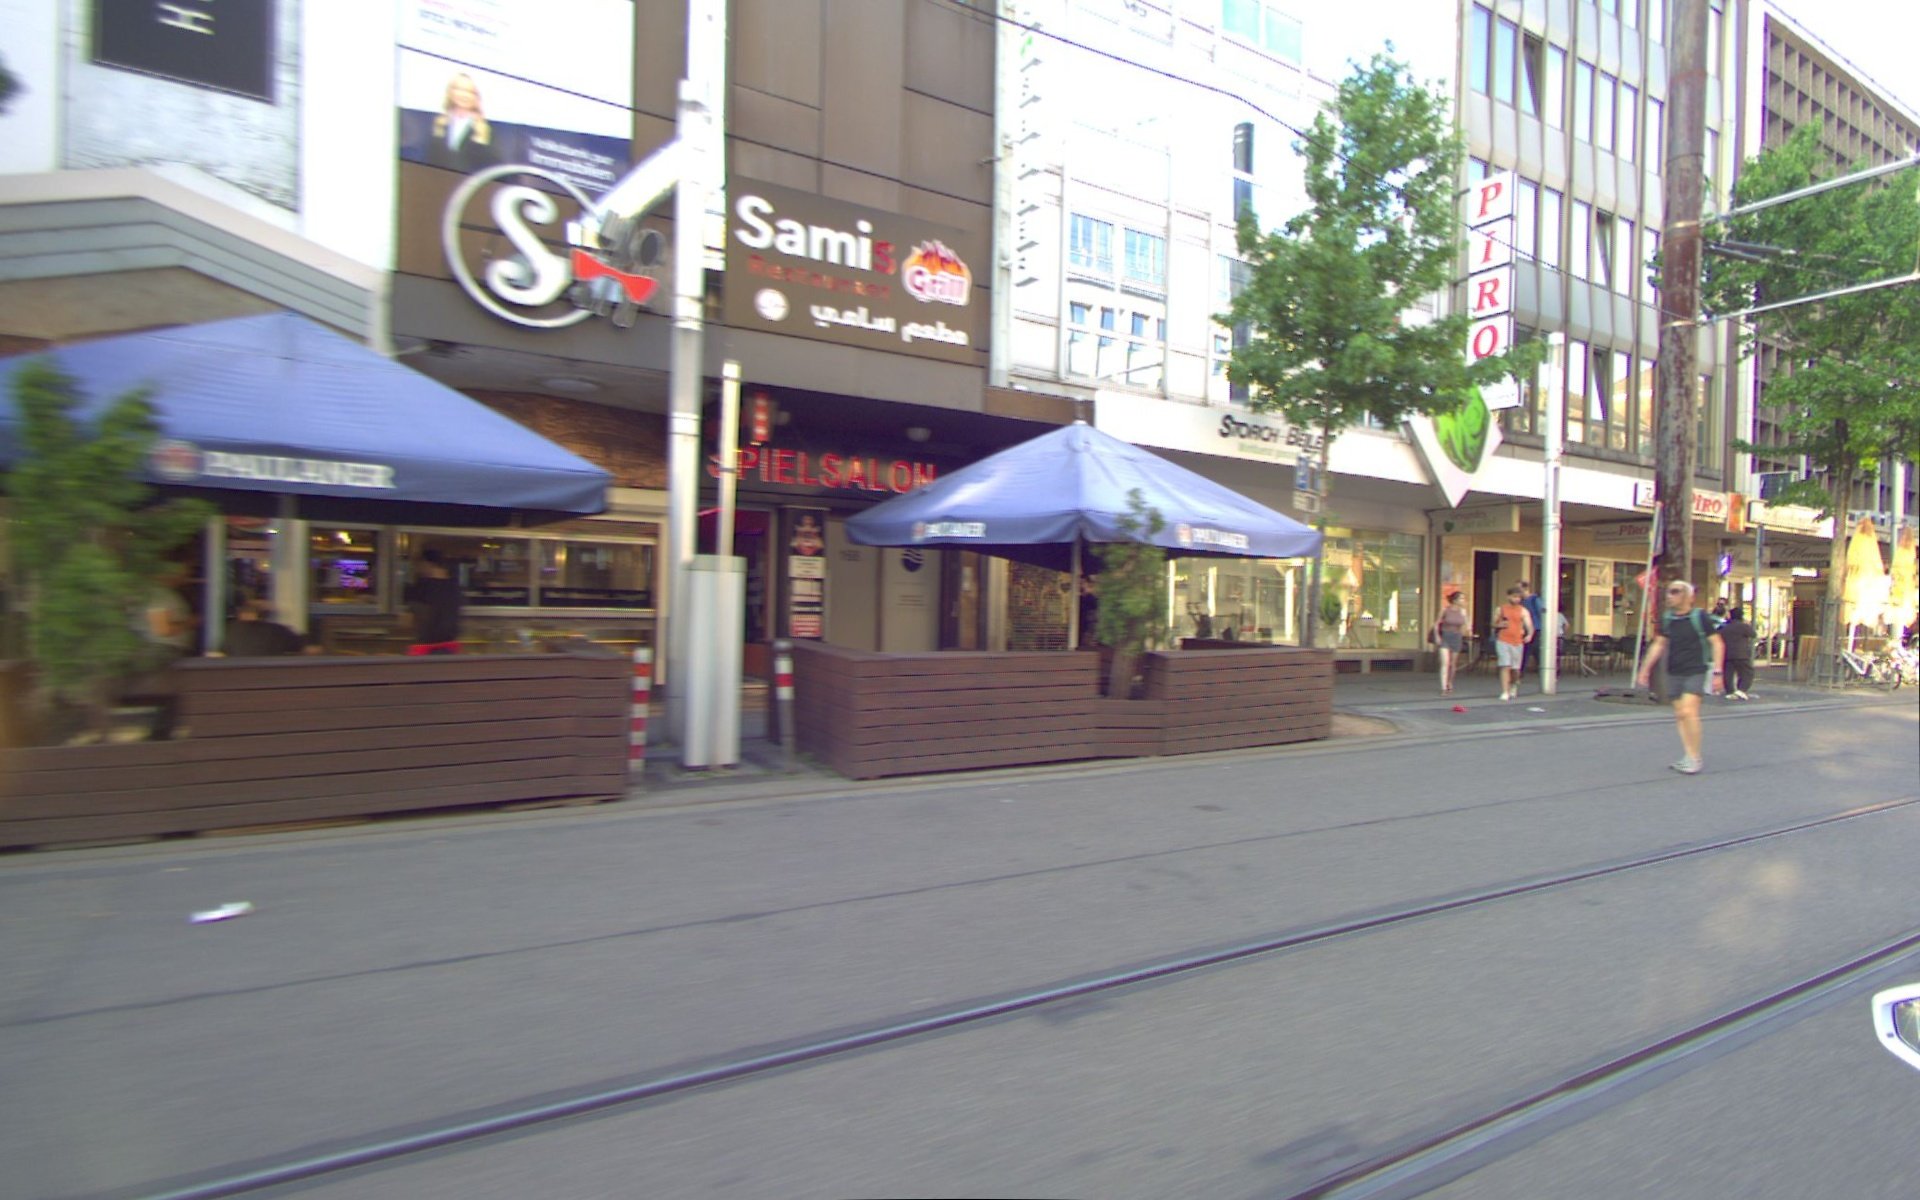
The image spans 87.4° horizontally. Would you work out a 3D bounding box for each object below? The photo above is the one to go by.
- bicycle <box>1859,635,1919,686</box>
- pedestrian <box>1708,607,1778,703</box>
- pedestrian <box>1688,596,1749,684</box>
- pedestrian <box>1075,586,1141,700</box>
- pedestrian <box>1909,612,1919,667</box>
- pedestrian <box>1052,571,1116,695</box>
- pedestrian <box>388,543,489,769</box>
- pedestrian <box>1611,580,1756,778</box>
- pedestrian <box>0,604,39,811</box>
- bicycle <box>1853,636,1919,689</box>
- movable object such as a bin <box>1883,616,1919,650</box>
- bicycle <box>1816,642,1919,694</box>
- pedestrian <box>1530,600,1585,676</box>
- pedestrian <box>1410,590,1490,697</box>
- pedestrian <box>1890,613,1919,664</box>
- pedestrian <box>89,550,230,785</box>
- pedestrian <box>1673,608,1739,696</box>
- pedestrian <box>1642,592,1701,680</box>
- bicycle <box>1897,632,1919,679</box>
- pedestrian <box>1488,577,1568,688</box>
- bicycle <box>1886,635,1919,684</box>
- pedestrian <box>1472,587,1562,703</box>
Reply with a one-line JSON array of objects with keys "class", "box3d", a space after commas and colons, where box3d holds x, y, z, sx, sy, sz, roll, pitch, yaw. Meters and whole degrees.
[{"class": "bicycle", "box3d": [21.488, 1.376, 22.633, 0.373, 1.092, 1.777, 1, 1, -34]}, {"class": "pedestrian", "box3d": [13.479, 0.930, 17.292, 0.842, 1.571, 0.619, 1, 2, -30]}, {"class": "pedestrian", "box3d": [15.817, 0.828, 20.948, 0.922, 1.771, 0.619, 1, 2, -30]}, {"class": "pedestrian", "box3d": [2.105, 0.598, 14.288, 0.663, 1.553, 0.594, 1, 2, -30]}, {"class": "pedestrian", "box3d": [31.149, 1.275, 32.356, 0.704, 1.790, 0.682, 1, 0, 35]}, {"class": "pedestrian", "box3d": [1.820, 0.470, 14.813, 0.663, 1.769, 0.594, 1, 2, -30]}, {"class": "pedestrian", "box3d": [-4.286, 0.434, 8.239, 0.668, 1.748, 0.713, 1, 1, -32]}, {"class": "pedestrian", "box3d": [7.077, 0.735, 9.847, 0.781, 1.825, 0.837, 1, 2, -30]}, {"class": "pedestrian", "box3d": [-6.112, 0.649, 6.203, 0.529, 1.244, 0.492, 1, 1, -31]}, {"class": "bicycle", "box3d": [21.117, 1.402, 22.374, 0.373, 1.092, 1.777, 1, 1, -34]}, {"class": "movable object such as a bin", "box3d": [29.452, 1.029, 31.394, 0.972, 1.053, 0.709, 1, 0, -37]}, {"class": "bicycle", "box3d": [18.810, 1.388, 20.819, 0.372, 0.943, 1.591, 1, 1, -23]}, {"class": "pedestrian", "box3d": [12.575, 0.798, 21.150, 0.800, 1.546, 0.619, 1, 2, -30]}, {"class": "pedestrian", "box3d": [7.887, 0.682, 16.197, 0.748, 1.660, 0.850, 2, 1, -11]}, {"class": "pedestrian", "box3d": [30.103, 1.213, 31.894, 0.678, 1.568, 0.709, 1, 0, -36]}, {"class": "pedestrian", "box3d": [-5.895, 0.467, 7.439, 0.711, 1.629, 0.669, 1, 1, -31]}, {"class": "pedestrian", "box3d": [13.481, 0.922, 18.156, 0.823, 1.529, 0.619, 1, 2, -30]}, {"class": "pedestrian", "box3d": [15.339, 0.762, 21.652, 0.922, 1.828, 0.619, 1, 2, -30]}, {"class": "bicycle", "box3d": [24.544, 1.421, 24.932, 0.372, 1.156, 1.838, 1, 1, -29]}, {"class": "pedestrian", "box3d": [10.442, 0.570, 18.462, 1.060, 1.949, 0.795, 1, 3, -34]}, {"class": "bicycle", "box3d": [22.663, 1.415, 23.182, 0.373, 1.092, 1.834, 1, 1, -34]}, {"class": "pedestrian", "box3d": [8.752, 0.689, 15.818, 0.820, 1.764, 0.850, 2, 1, -11]}]
